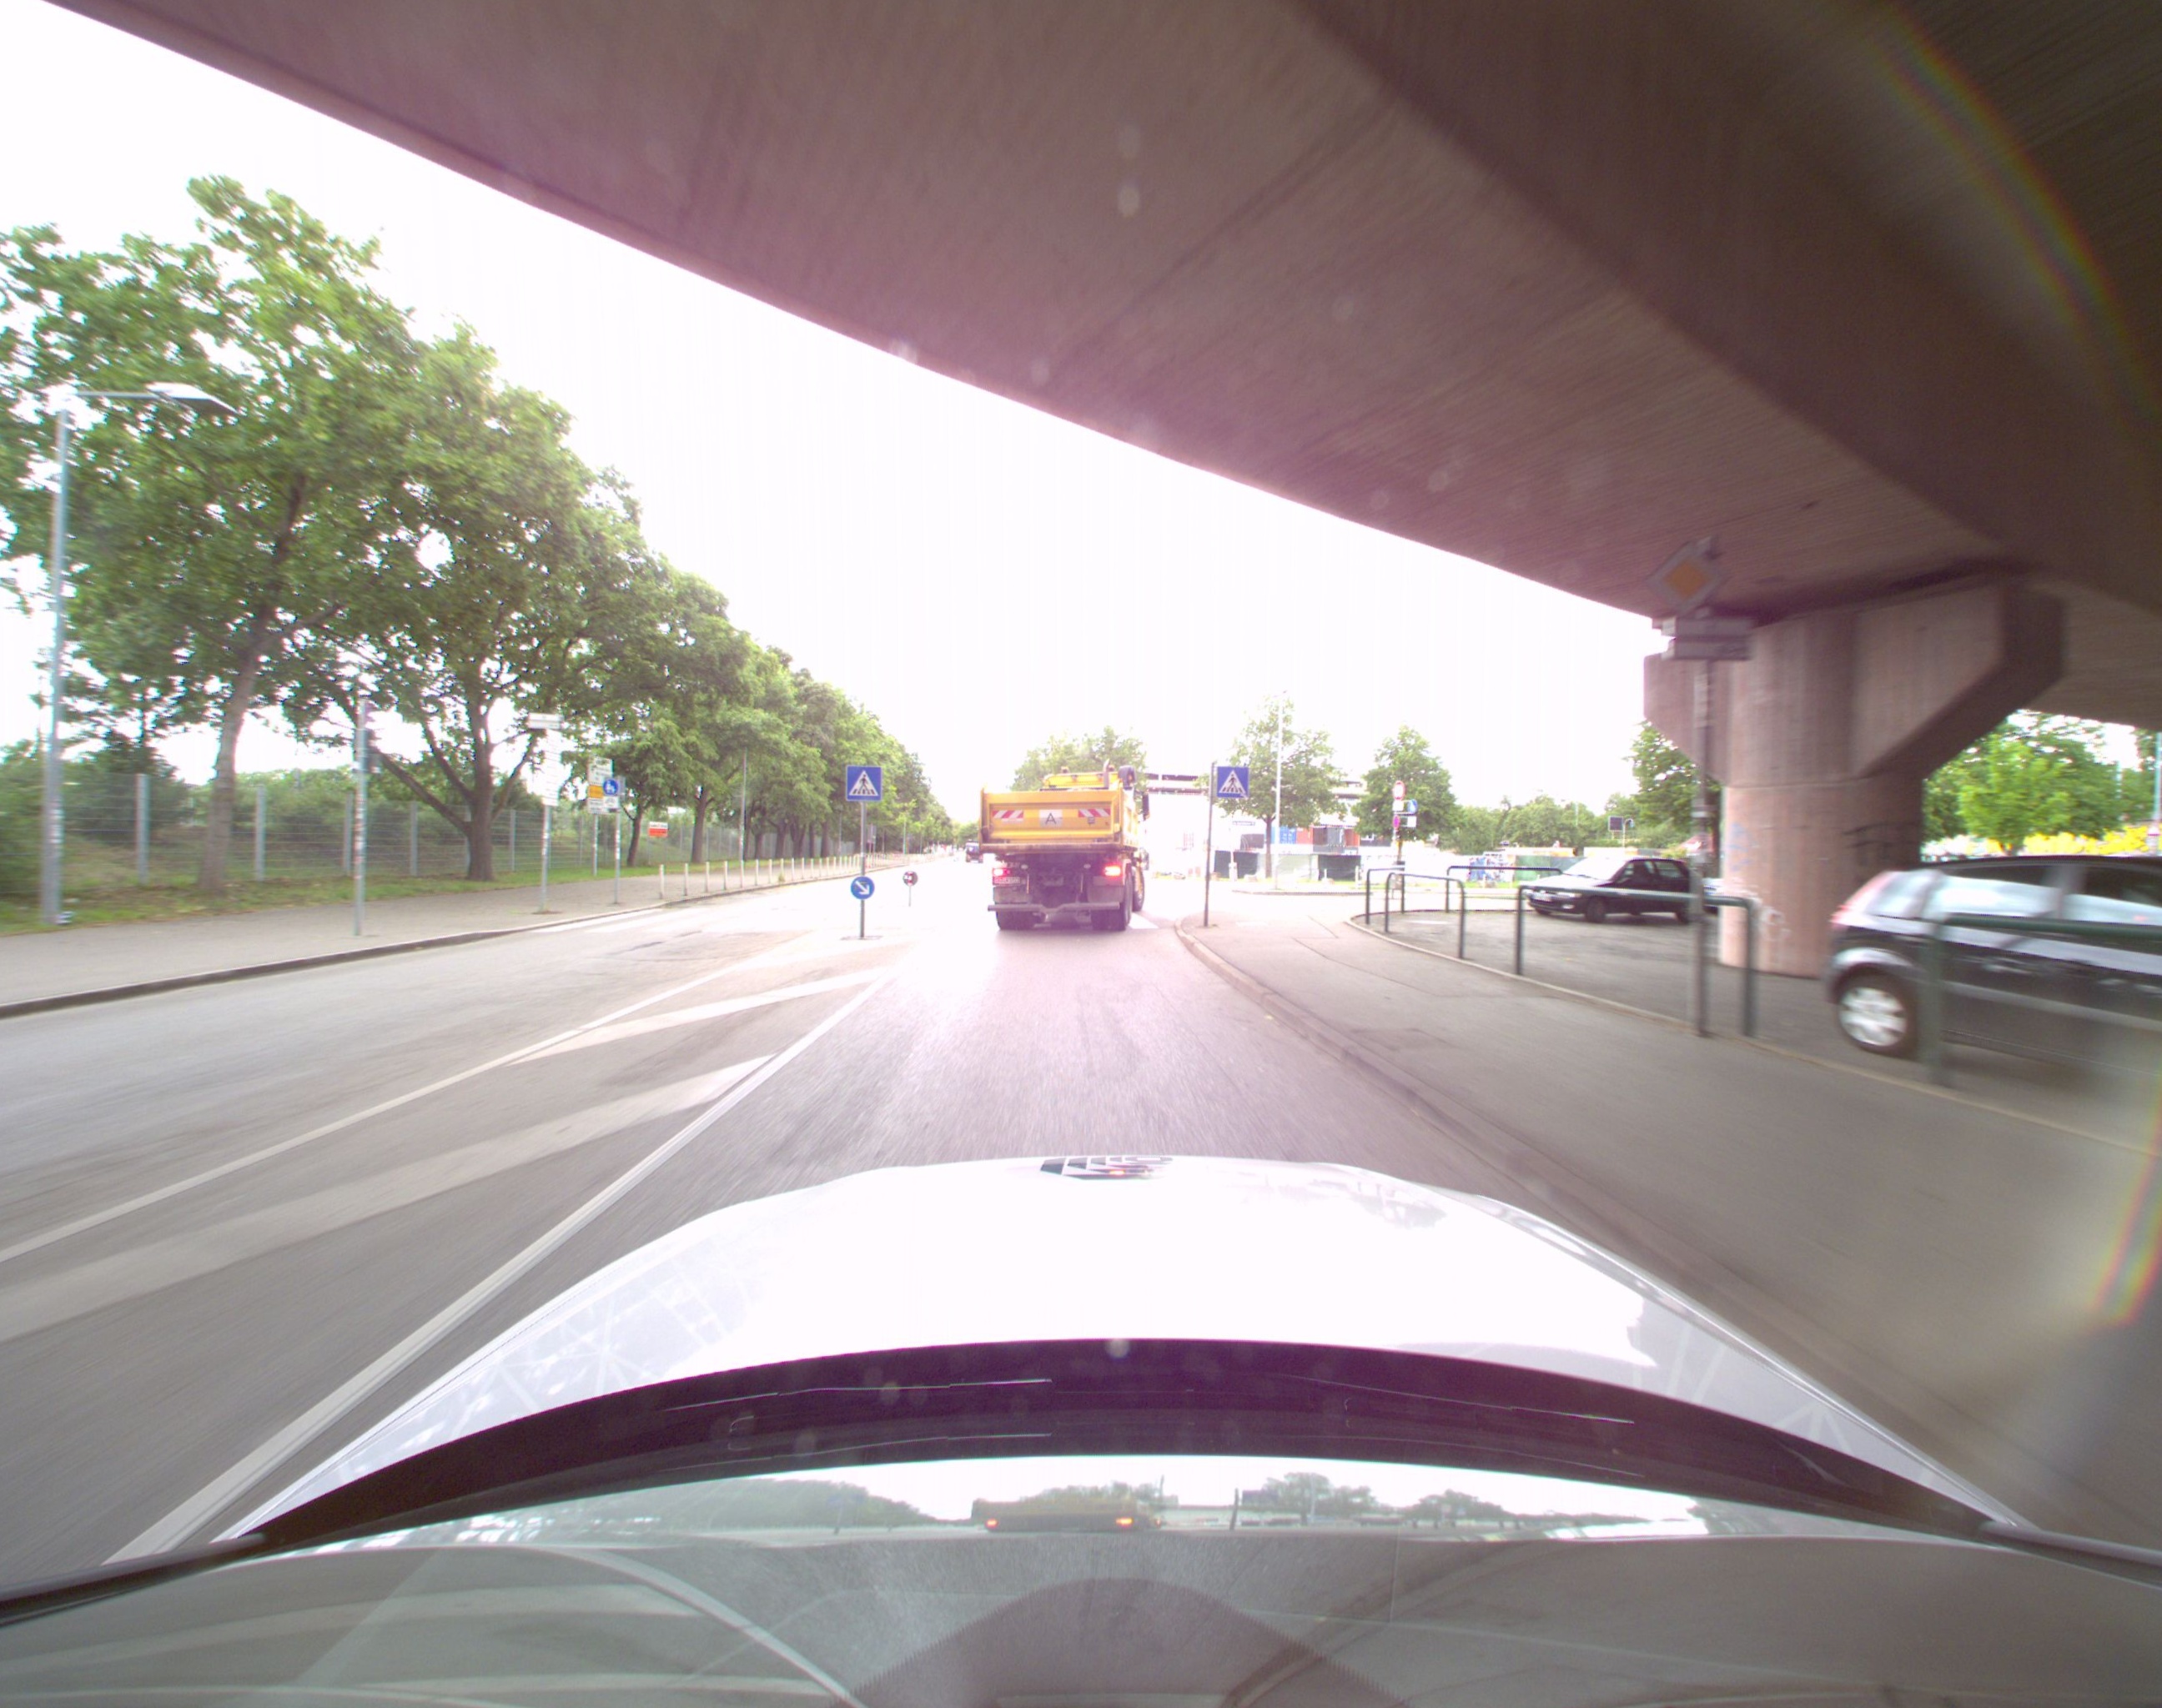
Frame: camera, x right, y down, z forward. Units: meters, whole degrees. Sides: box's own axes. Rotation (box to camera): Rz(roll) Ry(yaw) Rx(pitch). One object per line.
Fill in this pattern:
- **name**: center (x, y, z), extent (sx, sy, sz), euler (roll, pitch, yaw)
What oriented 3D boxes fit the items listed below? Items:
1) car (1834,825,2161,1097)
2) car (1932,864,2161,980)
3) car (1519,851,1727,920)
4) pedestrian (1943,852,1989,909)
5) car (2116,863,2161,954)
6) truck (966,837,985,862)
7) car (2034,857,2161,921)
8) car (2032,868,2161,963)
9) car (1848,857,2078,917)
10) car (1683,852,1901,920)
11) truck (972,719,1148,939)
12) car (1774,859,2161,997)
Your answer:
- **car**: center (6.382, 0.582, 4.254), extent (1.600, 1.397, 3.580), euler (2, 1, 1)
- **car**: center (15.357, 0.953, 11.813), extent (1.696, 1.509, 3.842), euler (1, 1, -16)
- **car**: center (11.596, 0.667, 17.509), extent (3.687, 1.329, 1.505), euler (1, 2, -10)
- **pedestrian**: center (29.963, 0.877, 27.576), extent (0.823, 1.907, 0.734), euler (1, 0, -13)
- **car**: center (19.821, 0.962, 12.935), extent (1.696, 1.555, 3.842), euler (1, 1, -16)
- **truck**: center (-15.776, -0.566, 121.083), extent (2.672, 3.558, 7.900), euler (-2, -1, -8)
- **car**: center (27.484, 0.896, 21.366), extent (4.062, 1.535, 1.609), euler (1, 1, -15)
- **car**: center (17.890, 0.995, 12.567), extent (1.696, 1.443, 3.842), euler (1, 1, -16)
- **car**: center (21.260, 0.778, 19.678), extent (4.362, 1.321, 1.765), euler (1, 1, -11)
- **car**: center (16.334, 0.695, 18.756), extent (4.237, 1.420, 1.504), euler (0, 2, -12)
- **truck**: center (-0.059, -0.400, 17.955), extent (2.744, 3.698, 7.893), euler (-2, -1, 6)
- **car**: center (12.631, 0.880, 11.631), extent (1.635, 1.552, 3.994), euler (1, 0, -12)
